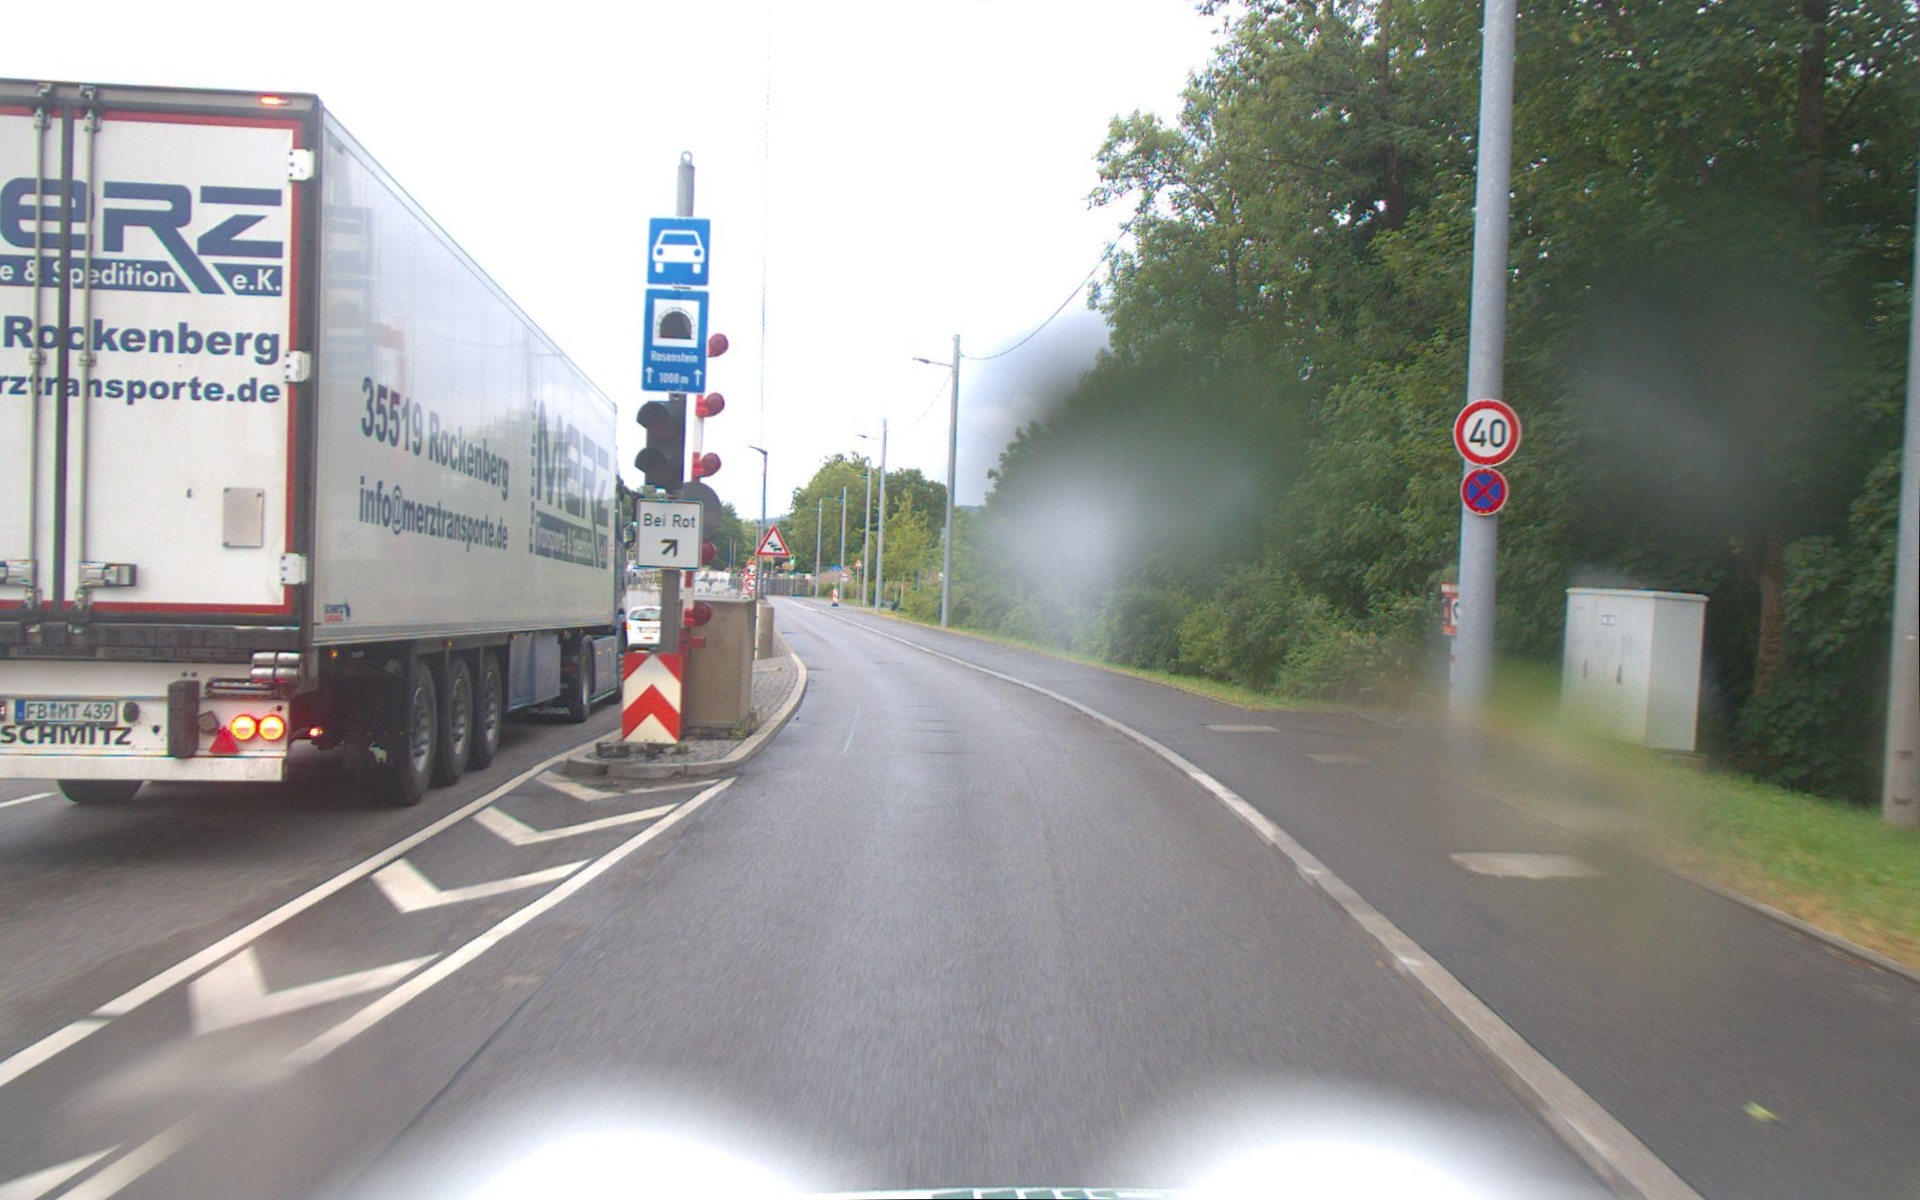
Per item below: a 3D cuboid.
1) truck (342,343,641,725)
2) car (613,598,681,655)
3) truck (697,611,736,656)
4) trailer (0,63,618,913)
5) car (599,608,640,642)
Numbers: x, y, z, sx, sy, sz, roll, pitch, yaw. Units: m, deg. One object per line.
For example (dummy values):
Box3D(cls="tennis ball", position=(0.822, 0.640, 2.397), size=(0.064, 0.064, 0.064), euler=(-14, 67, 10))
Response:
Box3D(cls="truck", position=(-5.883, -0.769, 21.819), size=(2.703, 4.278, 6.299), euler=(0, 0, -6))
Box3D(cls="car", position=(-9.326, 0.760, 49.525), size=(1.776, 1.448, 3.994), euler=(1, 2, -8))
Box3D(cls="truck", position=(-23.054, 3.112, 156.828), size=(3.452, 4.110, 8.060), euler=(1, 0, -7))
Box3D(cls="trailer", position=(-5.214, -0.638, 15.006), size=(2.709, 4.327, 13.168), euler=(0, 1, -6))
Box3D(cls="car", position=(-16.821, 1.204, 81.836), size=(1.650, 1.471, 3.994), euler=(1, 2, -8))
